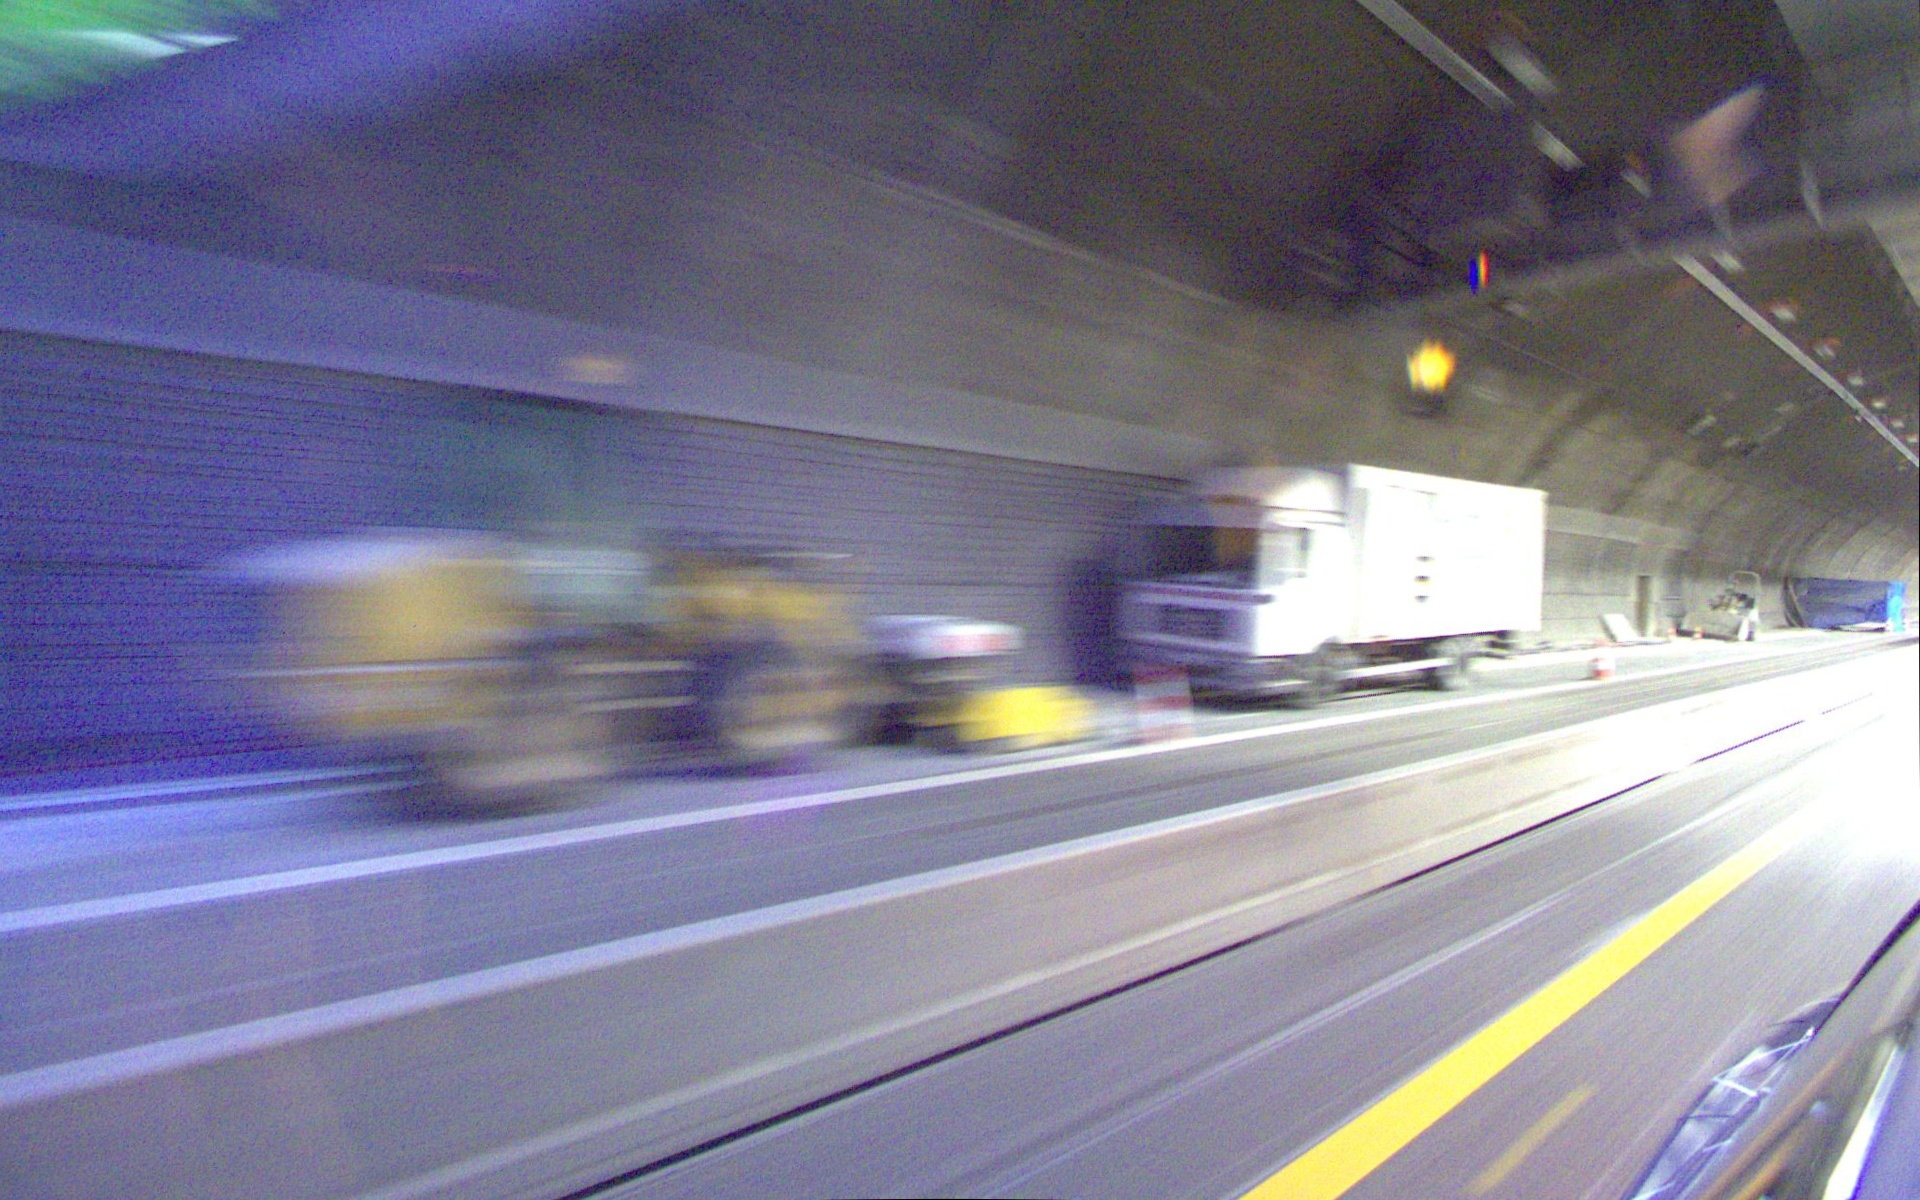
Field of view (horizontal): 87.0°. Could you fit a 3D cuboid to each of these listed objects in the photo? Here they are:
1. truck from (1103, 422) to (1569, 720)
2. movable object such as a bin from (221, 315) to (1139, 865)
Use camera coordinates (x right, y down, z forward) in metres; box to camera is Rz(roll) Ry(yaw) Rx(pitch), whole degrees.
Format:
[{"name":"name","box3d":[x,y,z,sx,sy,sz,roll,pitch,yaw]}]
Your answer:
[{"name":"truck","box3d":[5.944,-0.364,15.027,8.205,3.327,2.823,-1,0,-40]},{"name":"movable object such as a bin","box3d":[-1.880,-0.092,8.734,7.071,2.863,2.975,-1,0,-41]}]
